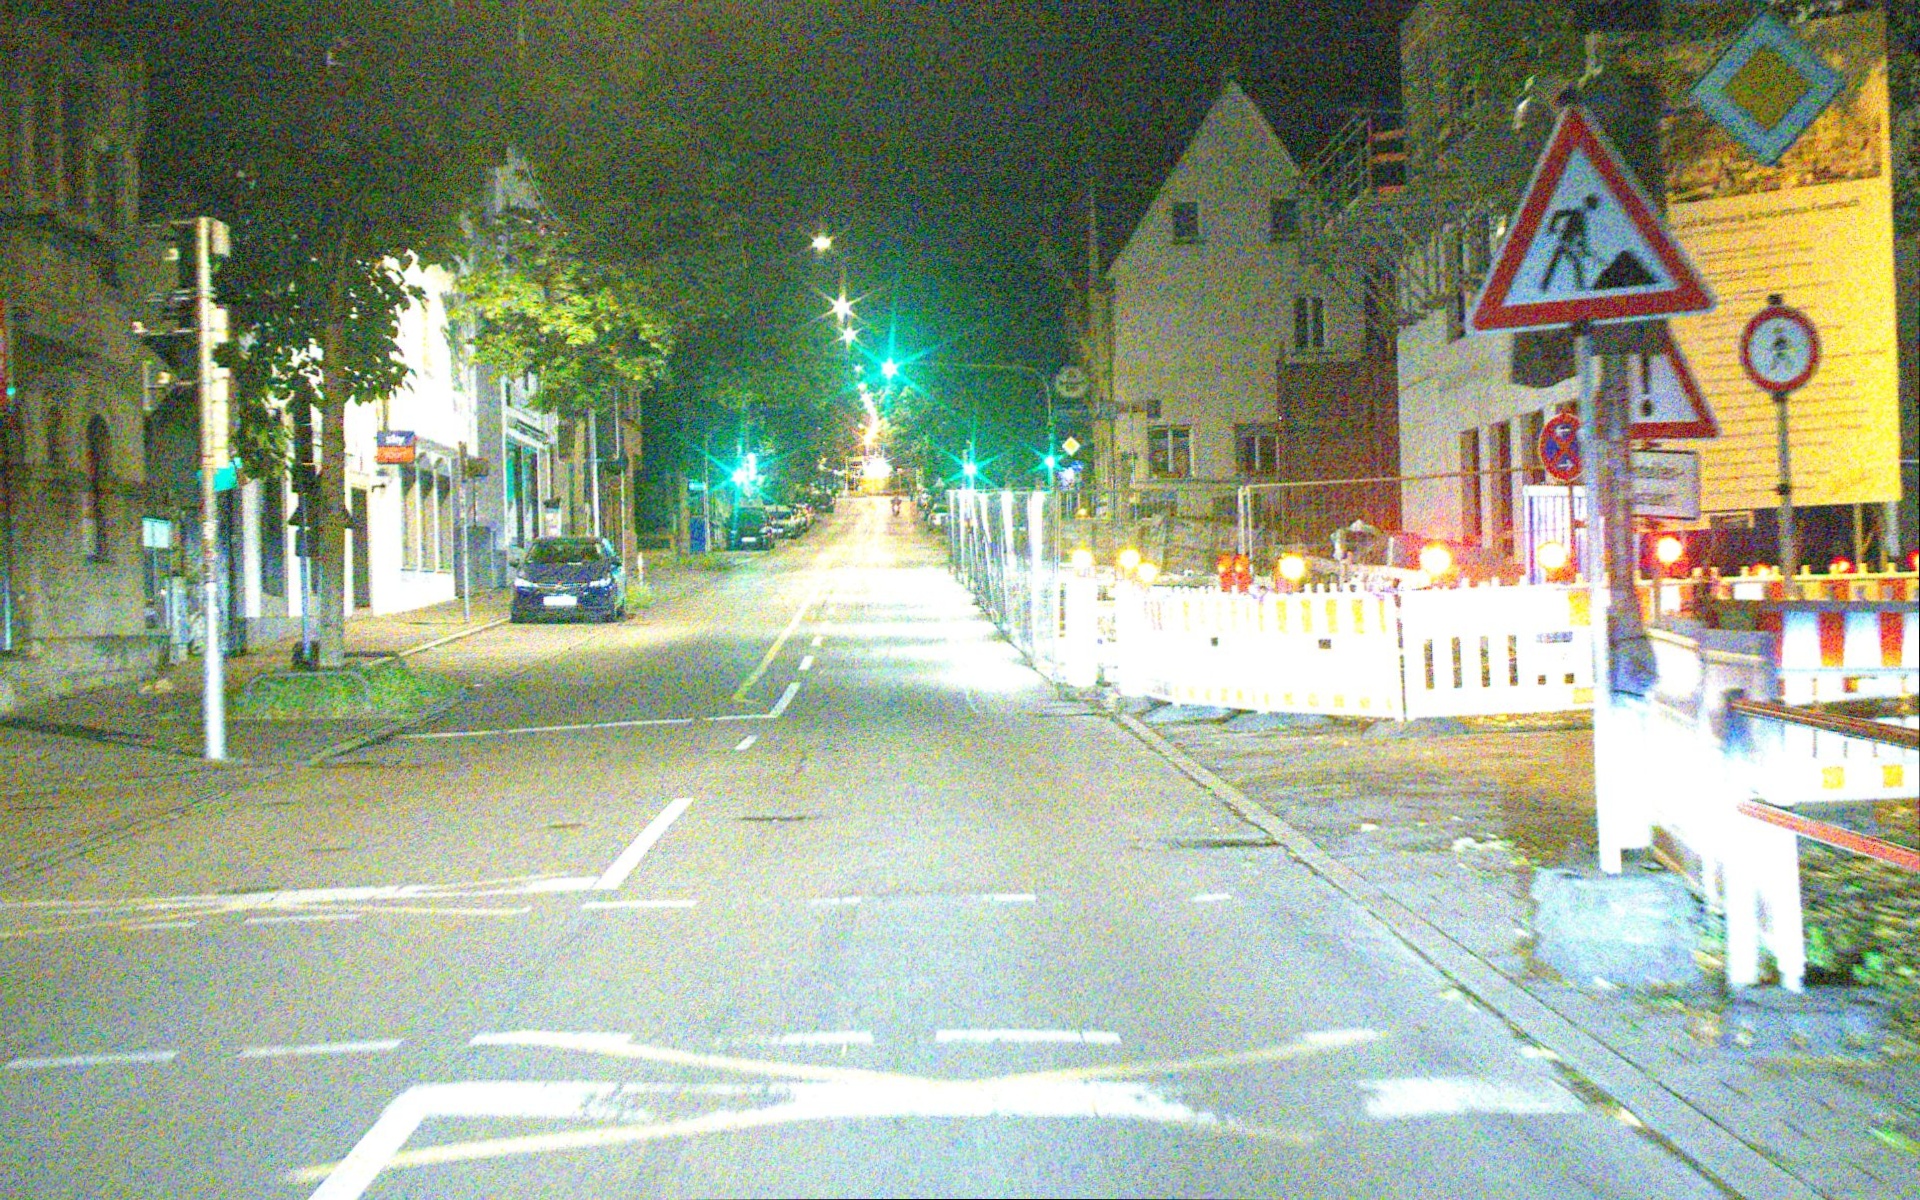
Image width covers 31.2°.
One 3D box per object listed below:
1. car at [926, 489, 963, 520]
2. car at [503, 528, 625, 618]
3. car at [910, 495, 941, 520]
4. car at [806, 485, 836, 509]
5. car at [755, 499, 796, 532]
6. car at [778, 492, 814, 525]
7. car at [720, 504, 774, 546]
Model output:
[{"bbox_3d":[-0.833,-5.057,181.836,1.873,1.539,4.205,-1,2,-1],"label":"car"},{"bbox_3d":[-6.805,-0.492,59.427,1.671,1.438,4.205,-1,2,-1],"label":"car"},{"bbox_3d":[-2.235,-5.944,220.767,1.873,1.539,4.205,-1,2,-1],"label":"car"},{"bbox_3d":[-10.463,-7.766,259.150,2.077,1.808,4.205,-1,2,0],"label":"car"},{"bbox_3d":[-9.044,-4.149,168.870,1.873,1.539,4.205,-1,2,-1],"label":"car"},{"bbox_3d":[-9.212,-5.152,193.013,1.873,1.808,4.205,-1,2,-1],"label":"car"},{"bbox_3d":[-8.108,-2.874,131.198,1.873,1.539,4.205,-1,2,-1],"label":"car"}]
